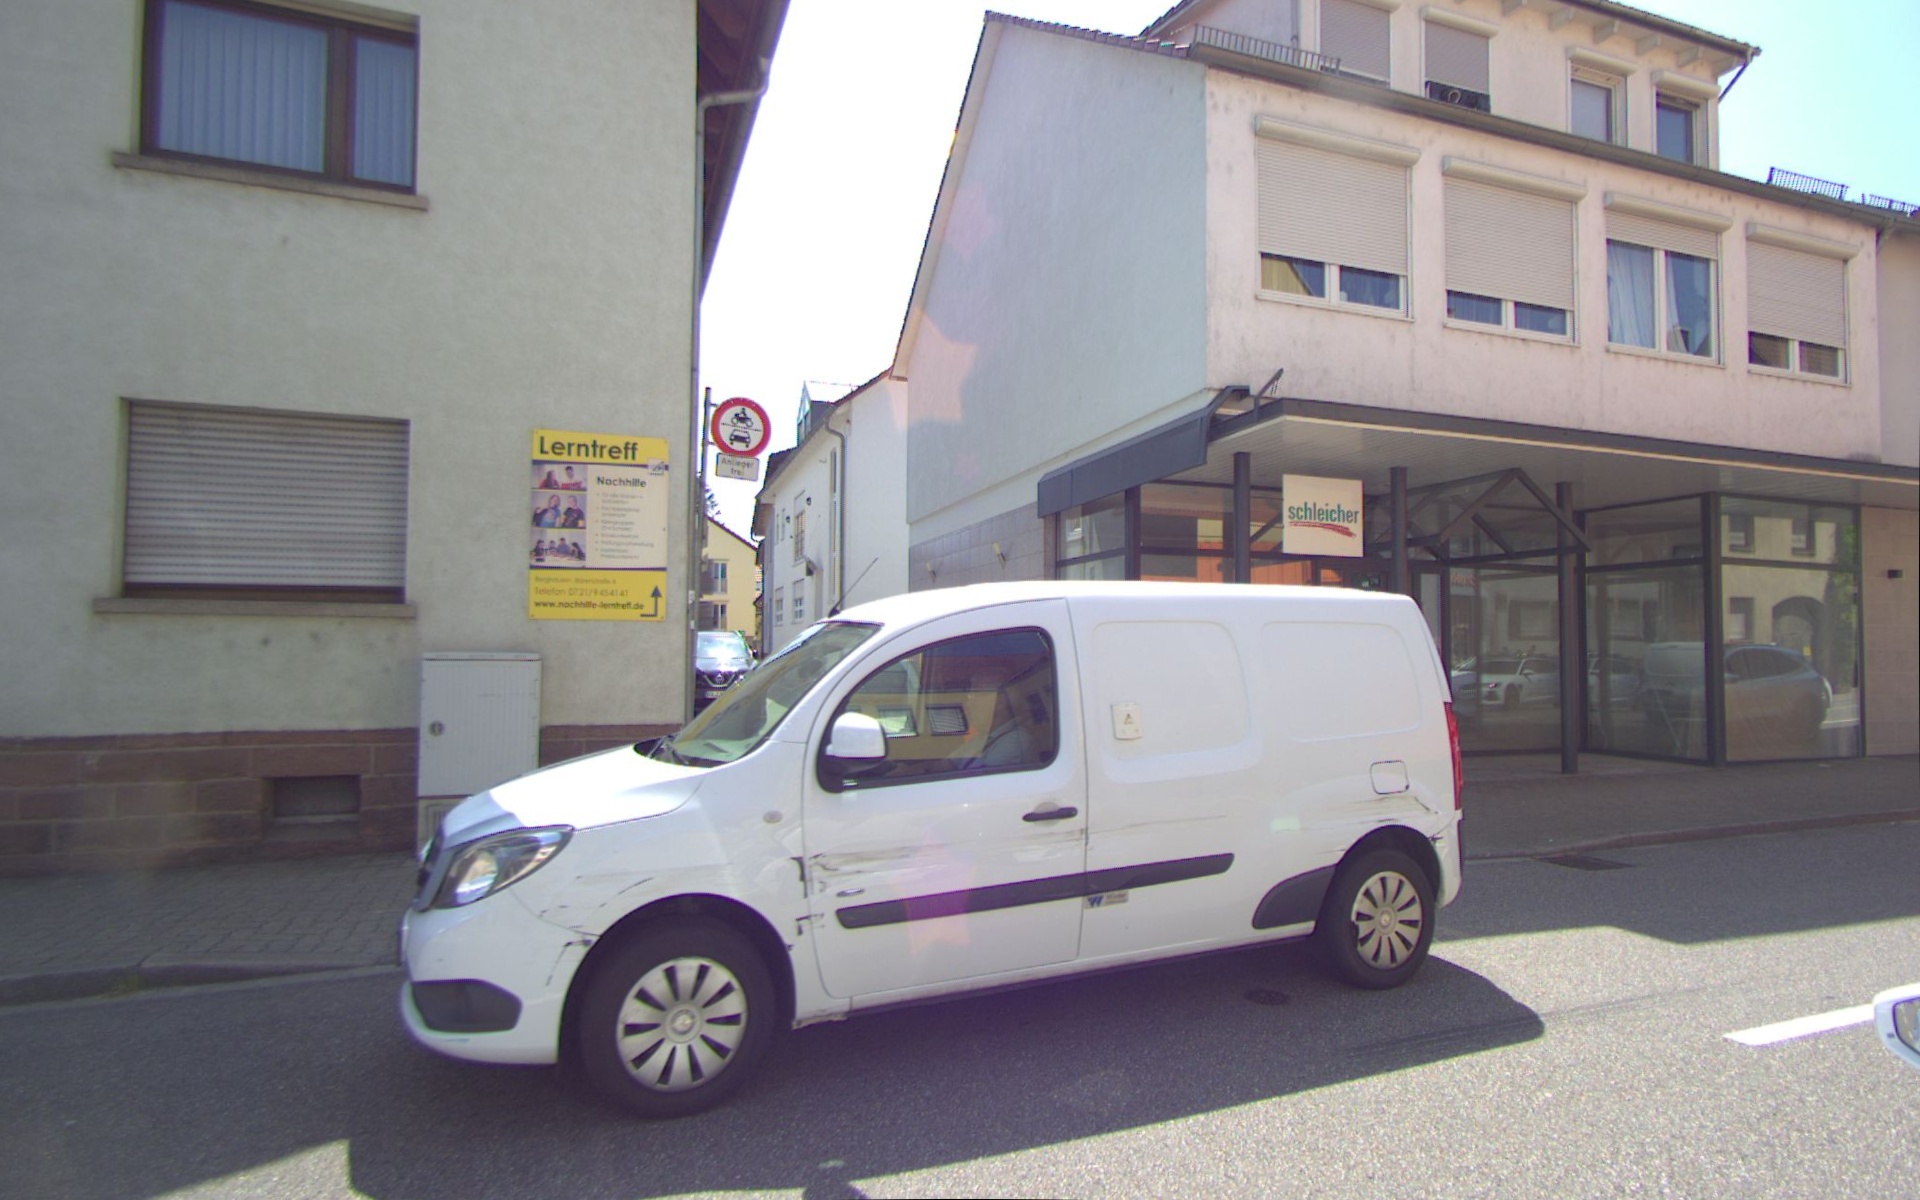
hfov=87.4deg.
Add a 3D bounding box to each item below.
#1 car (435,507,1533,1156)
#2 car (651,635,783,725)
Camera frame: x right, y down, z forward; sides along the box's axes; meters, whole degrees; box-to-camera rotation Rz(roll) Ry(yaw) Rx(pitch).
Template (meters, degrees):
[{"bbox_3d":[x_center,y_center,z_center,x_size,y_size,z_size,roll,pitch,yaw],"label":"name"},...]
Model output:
[{"bbox_3d":[0.246,0.773,4.634,4.535,1.853,1.779,2,-4,-23],"label":"car"},{"bbox_3d":[-4.652,1.420,18.804,1.864,1.482,3.980,1,-3,-22],"label":"car"}]
